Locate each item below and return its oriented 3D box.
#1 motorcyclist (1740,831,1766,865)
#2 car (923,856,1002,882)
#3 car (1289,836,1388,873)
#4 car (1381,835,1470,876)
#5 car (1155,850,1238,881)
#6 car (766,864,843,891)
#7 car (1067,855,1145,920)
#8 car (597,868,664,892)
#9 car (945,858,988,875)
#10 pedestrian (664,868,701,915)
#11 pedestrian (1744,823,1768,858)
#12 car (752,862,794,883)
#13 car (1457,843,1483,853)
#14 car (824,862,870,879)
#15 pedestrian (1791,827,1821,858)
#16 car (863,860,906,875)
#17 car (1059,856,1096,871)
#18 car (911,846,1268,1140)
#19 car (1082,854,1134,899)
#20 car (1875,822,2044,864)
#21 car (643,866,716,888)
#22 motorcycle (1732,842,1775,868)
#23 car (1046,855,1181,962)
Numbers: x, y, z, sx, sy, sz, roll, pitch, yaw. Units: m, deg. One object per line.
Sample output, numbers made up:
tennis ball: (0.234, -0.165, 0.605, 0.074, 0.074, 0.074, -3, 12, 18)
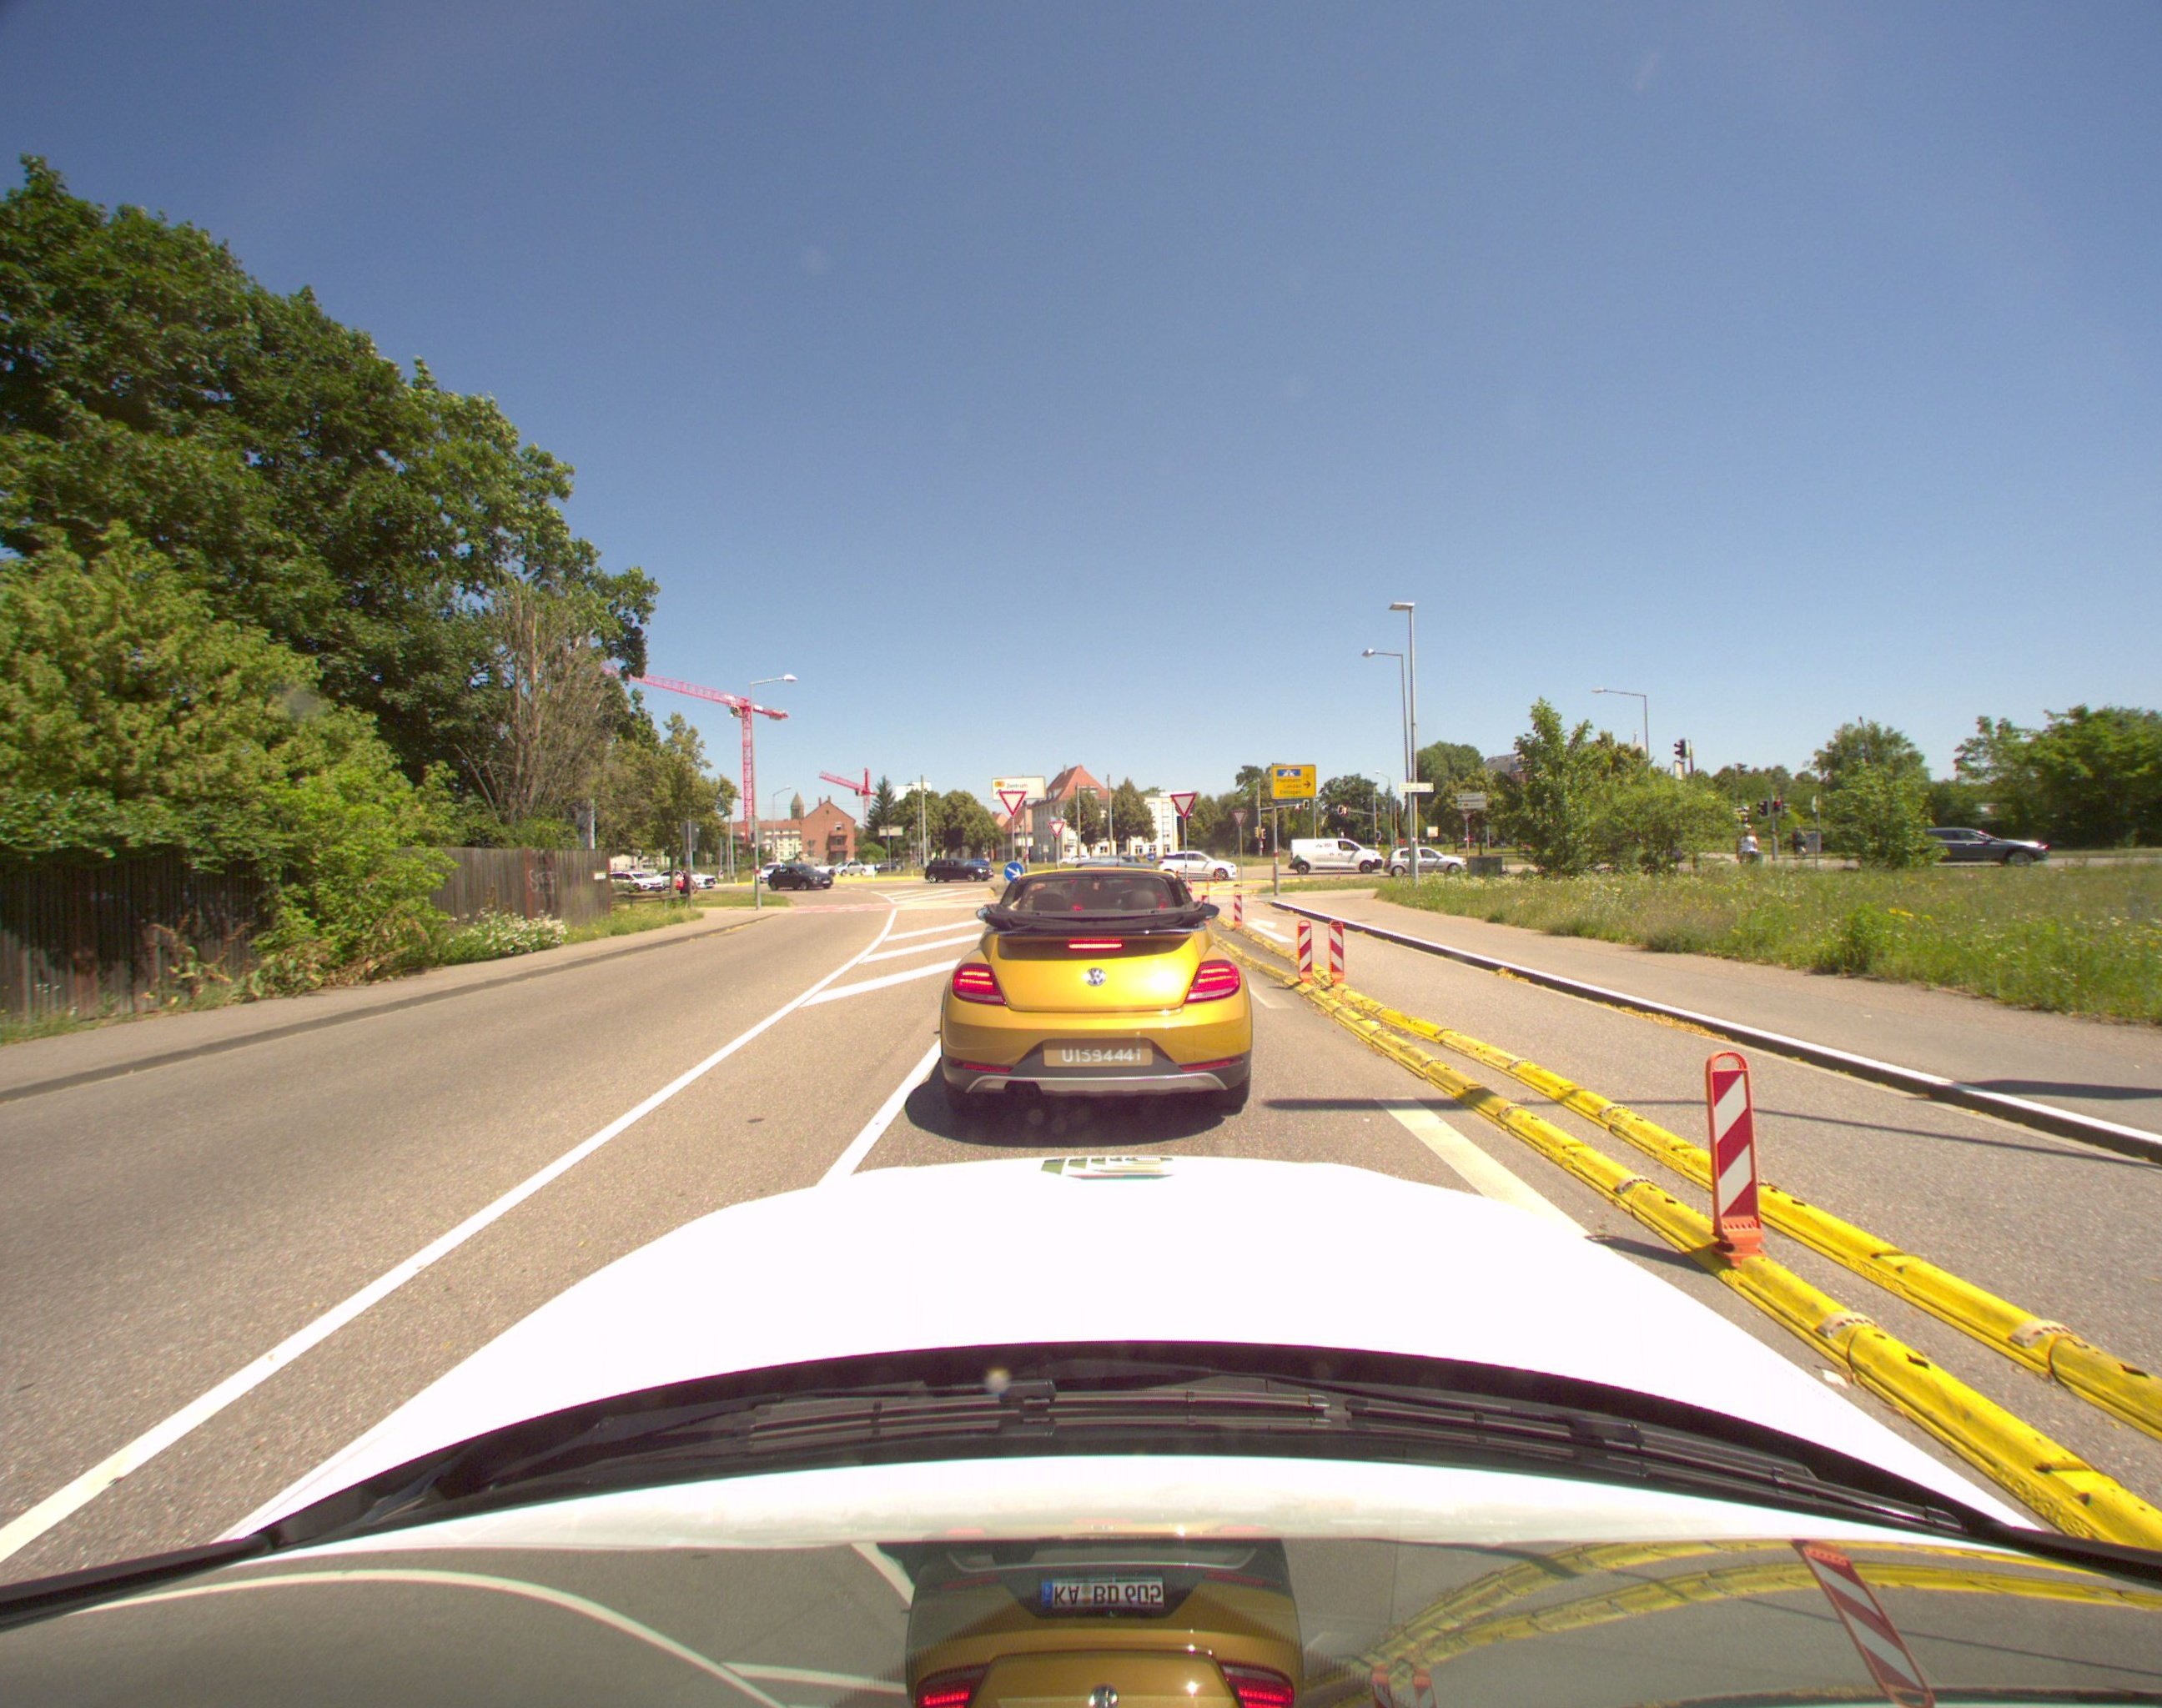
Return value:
motorcyclist: (25.851, -0.245, 31.326, 0.616, 1.289, 0.576, -1, -1, -28)
car: (-7.069, 0.872, 48.529, 4.153, 1.442, 2.009, -1, 0, 18)
car: (13.806, 0.041, 43.904, 4.935, 1.850, 2.008, -1, 0, 14)
car: (16.285, 0.066, 38.655, 3.640, 1.850, 1.639, -1, 0, 14)
car: (5.789, 0.556, 40.607, 3.983, 1.444, 1.637, -1, 0, 10)
car: (-16.132, 1.354, 47.470, 4.164, 1.442, 2.013, -1, 0, 32)
car: (0.635, 0.762, 20.516, 1.730, 1.442, 4.002, -1, 0, 2)
car: (-31.286, 1.810, 56.583, 4.531, 1.566, 2.012, -1, 0, 30)
car: (-14.220, 1.549, 101.250, 4.945, 1.786, 2.007, -3, 0, -29)
pedestrian: (-13.863, 1.291, 28.340, 0.865, 1.563, 0.816, -1, -1, 32)
pedestrian: (36.530, -0.739, 44.095, 0.647, 1.870, 0.737, -1, -1, 3)
car: (-24.946, 1.489, 66.128, 1.749, 1.549, 4.002, -1, 0, 2)
car: (71.782, -1.141, 150.333, 3.993, 1.714, 1.990, -1, 0, -15)
car: (-23.243, 1.626, 80.977, 1.690, 1.500, 4.247, -1, 0, 34)
pedestrian: (37.845, -0.599, 42.530, 0.789, 1.563, 0.823, -1, -1, 3)
car: (-23.032, 1.599, 95.360, 4.431, 1.569, 2.007, -3, 0, -29)
car: (-0.488, 1.205, 107.073, 4.666, 1.828, 1.995, -1, 0, -7)
car: (0.093, 0.697, 5.924, 1.746, 1.422, 3.778, -1, 0, 1)
car: (0.968, 0.777, 29.366, 1.730, 1.477, 4.002, -1, 0, 2)
car: (35.745, -0.414, 33.339, 4.389, 1.596, 2.013, -1, 0, 38)
car: (-29.709, 1.725, 60.226, 4.947, 1.509, 2.011, -1, 0, 22)
motorcycle: (25.832, 0.043, 31.279, 1.712, 0.970, 0.625, -1, -1, -28)
car: (0.515, 0.765, 13.272, 1.841, 1.442, 4.002, -1, 0, 2)
